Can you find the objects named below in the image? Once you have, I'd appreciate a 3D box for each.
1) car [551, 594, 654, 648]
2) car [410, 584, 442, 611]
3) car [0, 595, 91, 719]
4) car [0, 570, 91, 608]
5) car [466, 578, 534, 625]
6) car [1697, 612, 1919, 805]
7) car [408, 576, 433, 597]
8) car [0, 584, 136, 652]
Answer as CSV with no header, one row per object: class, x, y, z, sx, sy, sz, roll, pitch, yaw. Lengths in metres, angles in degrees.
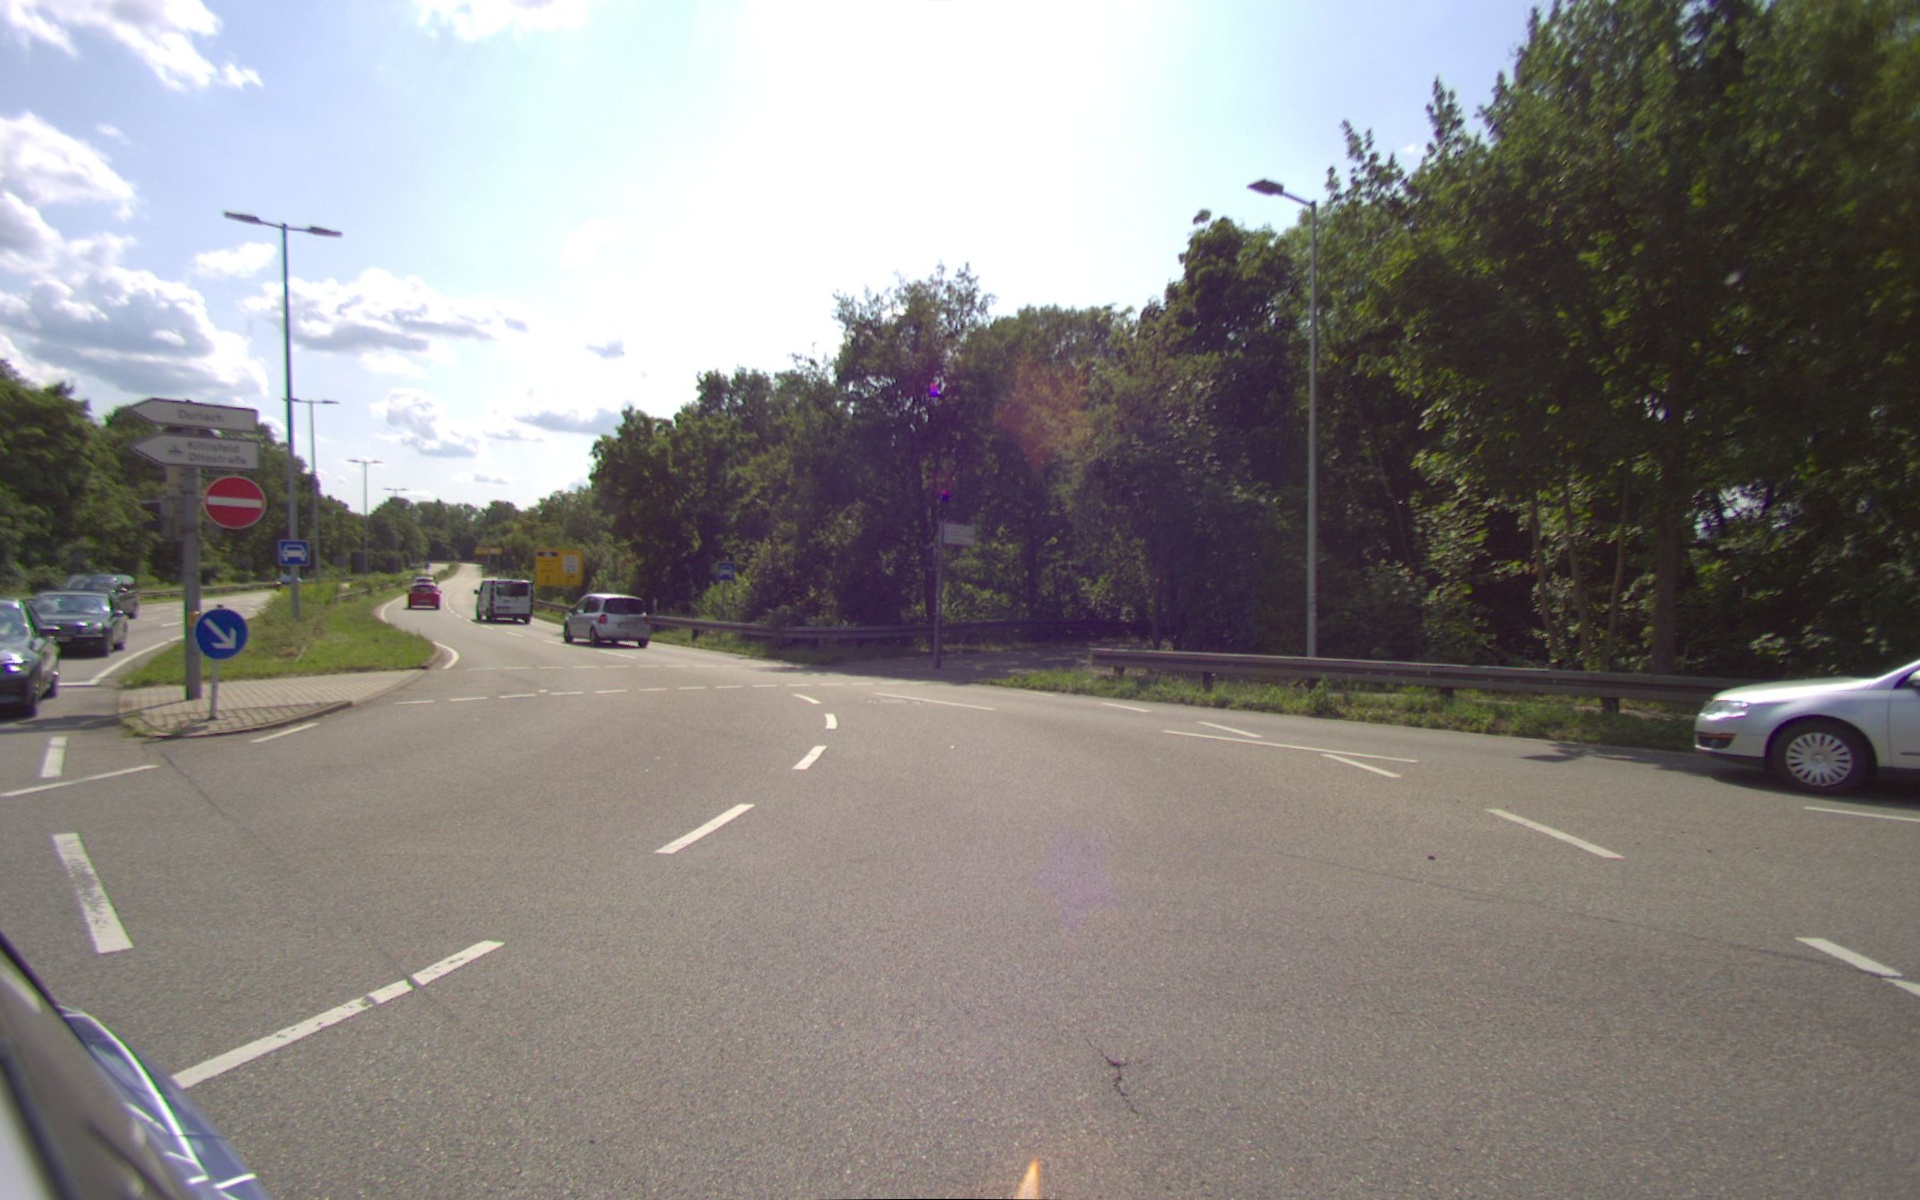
car,-11.129,0.621,31.388,1.711,1.532,4.076,3,-1,-39
car,-31.272,-0.150,59.297,1.559,1.443,4.013,2,-1,-27
car,-12.685,0.633,12.903,1.828,1.373,4.011,2,-1,-33
car,-36.278,-0.440,40.118,1.827,1.421,4.013,0,0,-26
car,-21.492,0.049,47.177,1.967,2.029,5.149,3,-1,-34
car,8.764,0.899,7.888,4.713,1.489,1.663,1,-2,43
car,-44.012,-1.085,82.522,1.686,1.598,4.295,3,-1,-29
car,-20.409,0.376,23.292,1.828,1.421,4.011,0,0,-33
